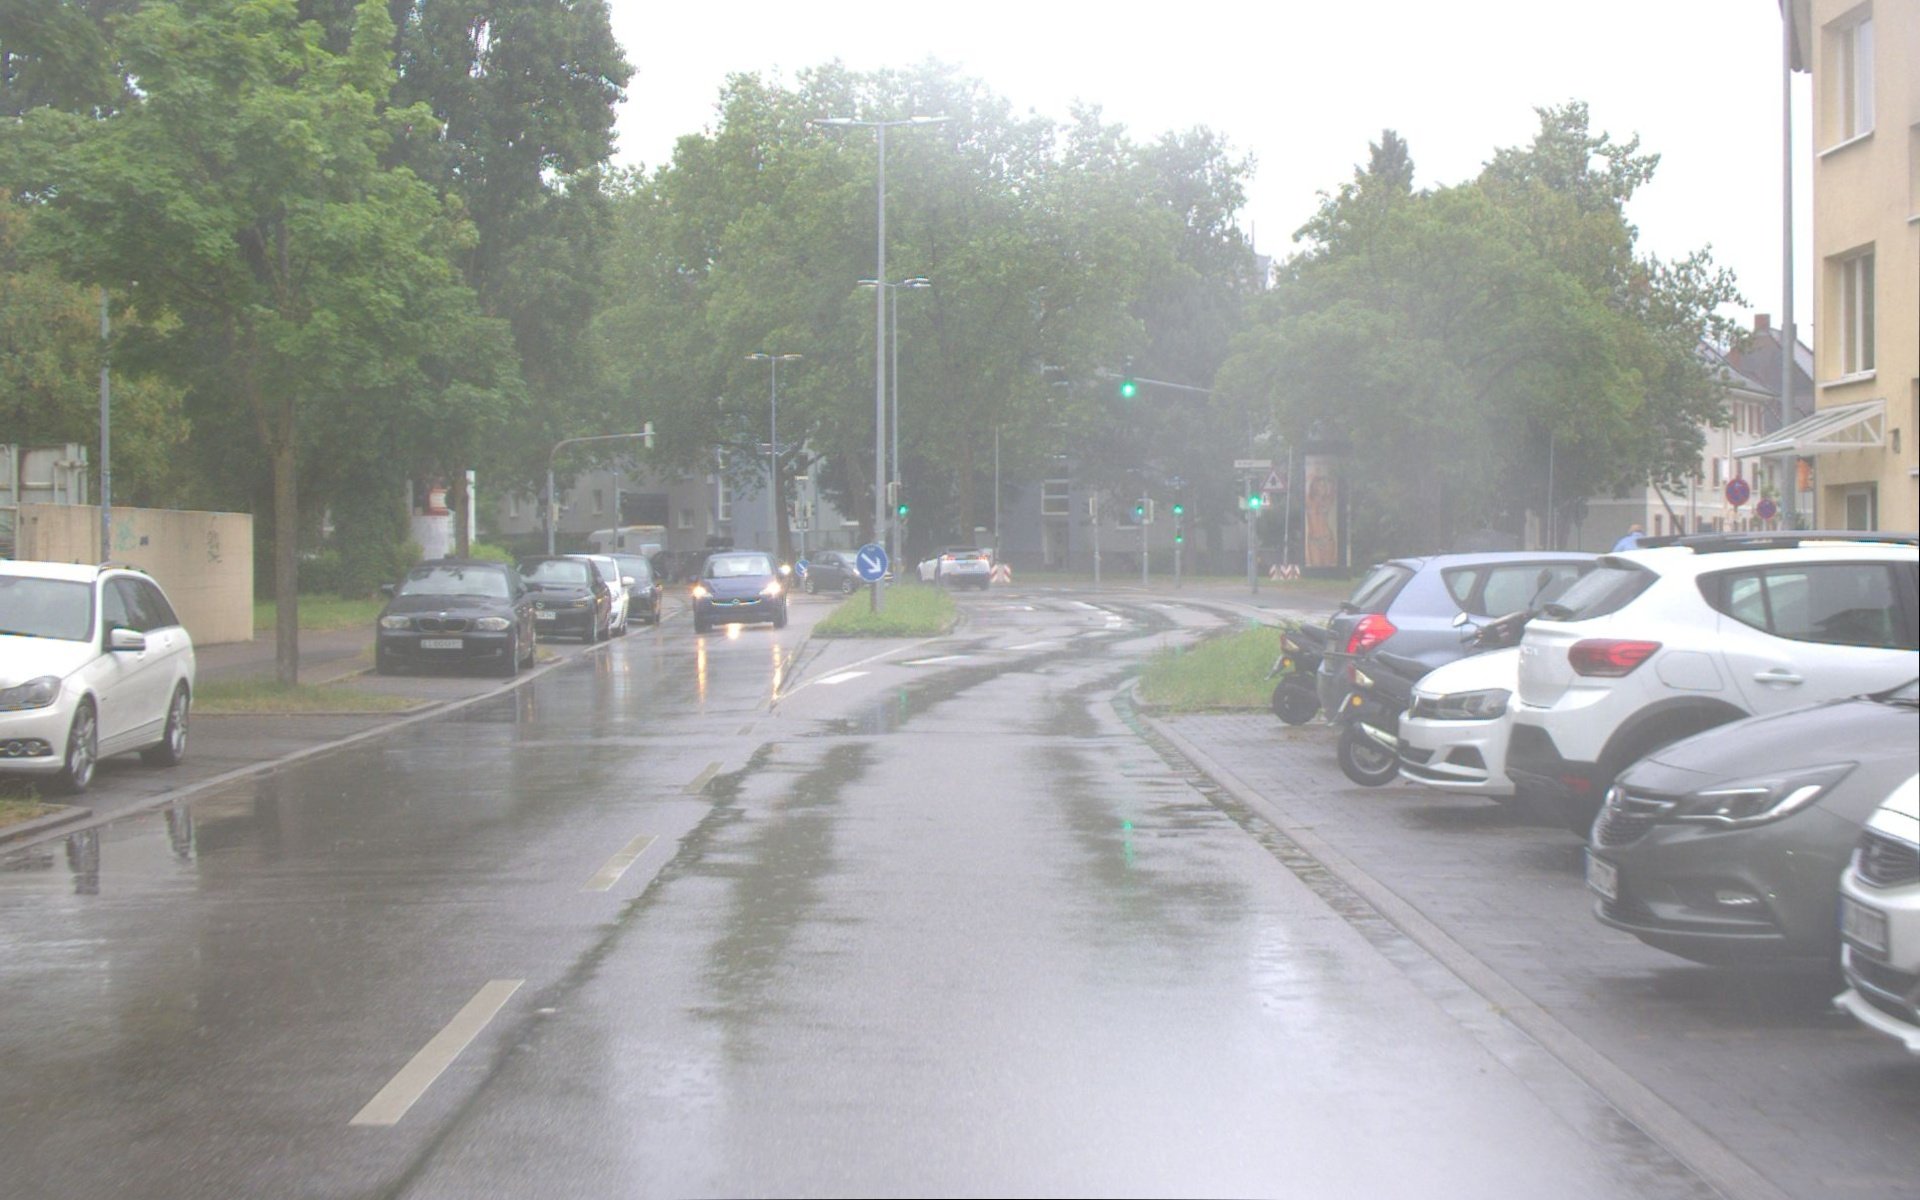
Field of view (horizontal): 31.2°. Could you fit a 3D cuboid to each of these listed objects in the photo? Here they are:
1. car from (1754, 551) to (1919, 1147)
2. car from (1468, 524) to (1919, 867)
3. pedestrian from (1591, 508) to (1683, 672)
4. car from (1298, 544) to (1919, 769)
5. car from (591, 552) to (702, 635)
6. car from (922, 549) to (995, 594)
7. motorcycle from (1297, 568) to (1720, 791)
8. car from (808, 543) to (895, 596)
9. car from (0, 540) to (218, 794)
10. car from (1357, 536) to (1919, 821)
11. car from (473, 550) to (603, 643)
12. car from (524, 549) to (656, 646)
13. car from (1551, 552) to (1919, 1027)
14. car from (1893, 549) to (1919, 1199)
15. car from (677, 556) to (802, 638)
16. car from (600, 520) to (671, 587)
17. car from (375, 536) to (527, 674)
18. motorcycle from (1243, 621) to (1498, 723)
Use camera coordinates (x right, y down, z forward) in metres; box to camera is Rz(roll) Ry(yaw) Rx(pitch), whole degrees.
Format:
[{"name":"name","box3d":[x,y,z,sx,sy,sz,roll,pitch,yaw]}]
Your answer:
[{"name":"car","box3d":[4.340,0.631,9.297,3.987,1.469,1.802,1,0,2]},{"name":"car","box3d":[4.629,0.442,16.677,3.986,1.547,1.905,1,0,-2]},{"name":"pedestrian","box3d":[8.459,-0.129,42.931,1.011,2.007,0.951,1,0,17]},{"name":"car","box3d":[4.458,0.370,24.013,3.987,1.456,1.935,1,0,0]},{"name":"car","box3d":[-6.753,-0.160,74.346,1.927,1.725,4.000,1,1,1]},{"name":"car","box3d":[-0.069,-0.989,117.063,1.849,1.519,4.001,0,1,-10]},{"name":"motorcycle","box3d":[3.350,0.477,21.135,2.398,1.319,0.920,1,0,-5]},{"name":"car","box3d":[-3.558,-1.005,111.988,1.740,1.683,4.001,1,1,-18]},{"name":"car","box3d":[-6.289,0.373,22.928,1.768,1.523,4.598,1,1,-1]},{"name":"car","box3d":[4.369,0.419,19.229,3.986,1.485,1.862,1,0,-3]},{"name":"car","box3d":[-7.048,-0.087,57.753,1.928,1.479,4.001,-1,1,-4]},{"name":"car","box3d":[-6.857,-0.056,64.070,1.927,1.725,4.000,1,1,1]},{"name":"car","box3d":[4.147,0.596,11.570,3.987,1.461,1.782,1,1,0]},{"name":"car","box3d":[4.217,0.663,6.796,4.270,1.449,1.984,1,2,5]},{"name":"car","box3d":[-4.180,-0.074,65.746,1.993,1.480,4.000,1,1,2]},{"name":"car","box3d":[-15.943,-2.284,168.611,2.219,3.226,4.671,1,0,-22]},{"name":"car","box3d":[-6.319,0.025,42.952,1.775,1.524,4.001,1,2,-7]},{"name":"motorcycle","box3d":[3.413,0.596,28.638,2.073,0.790,0.710,1,1,6]}]
